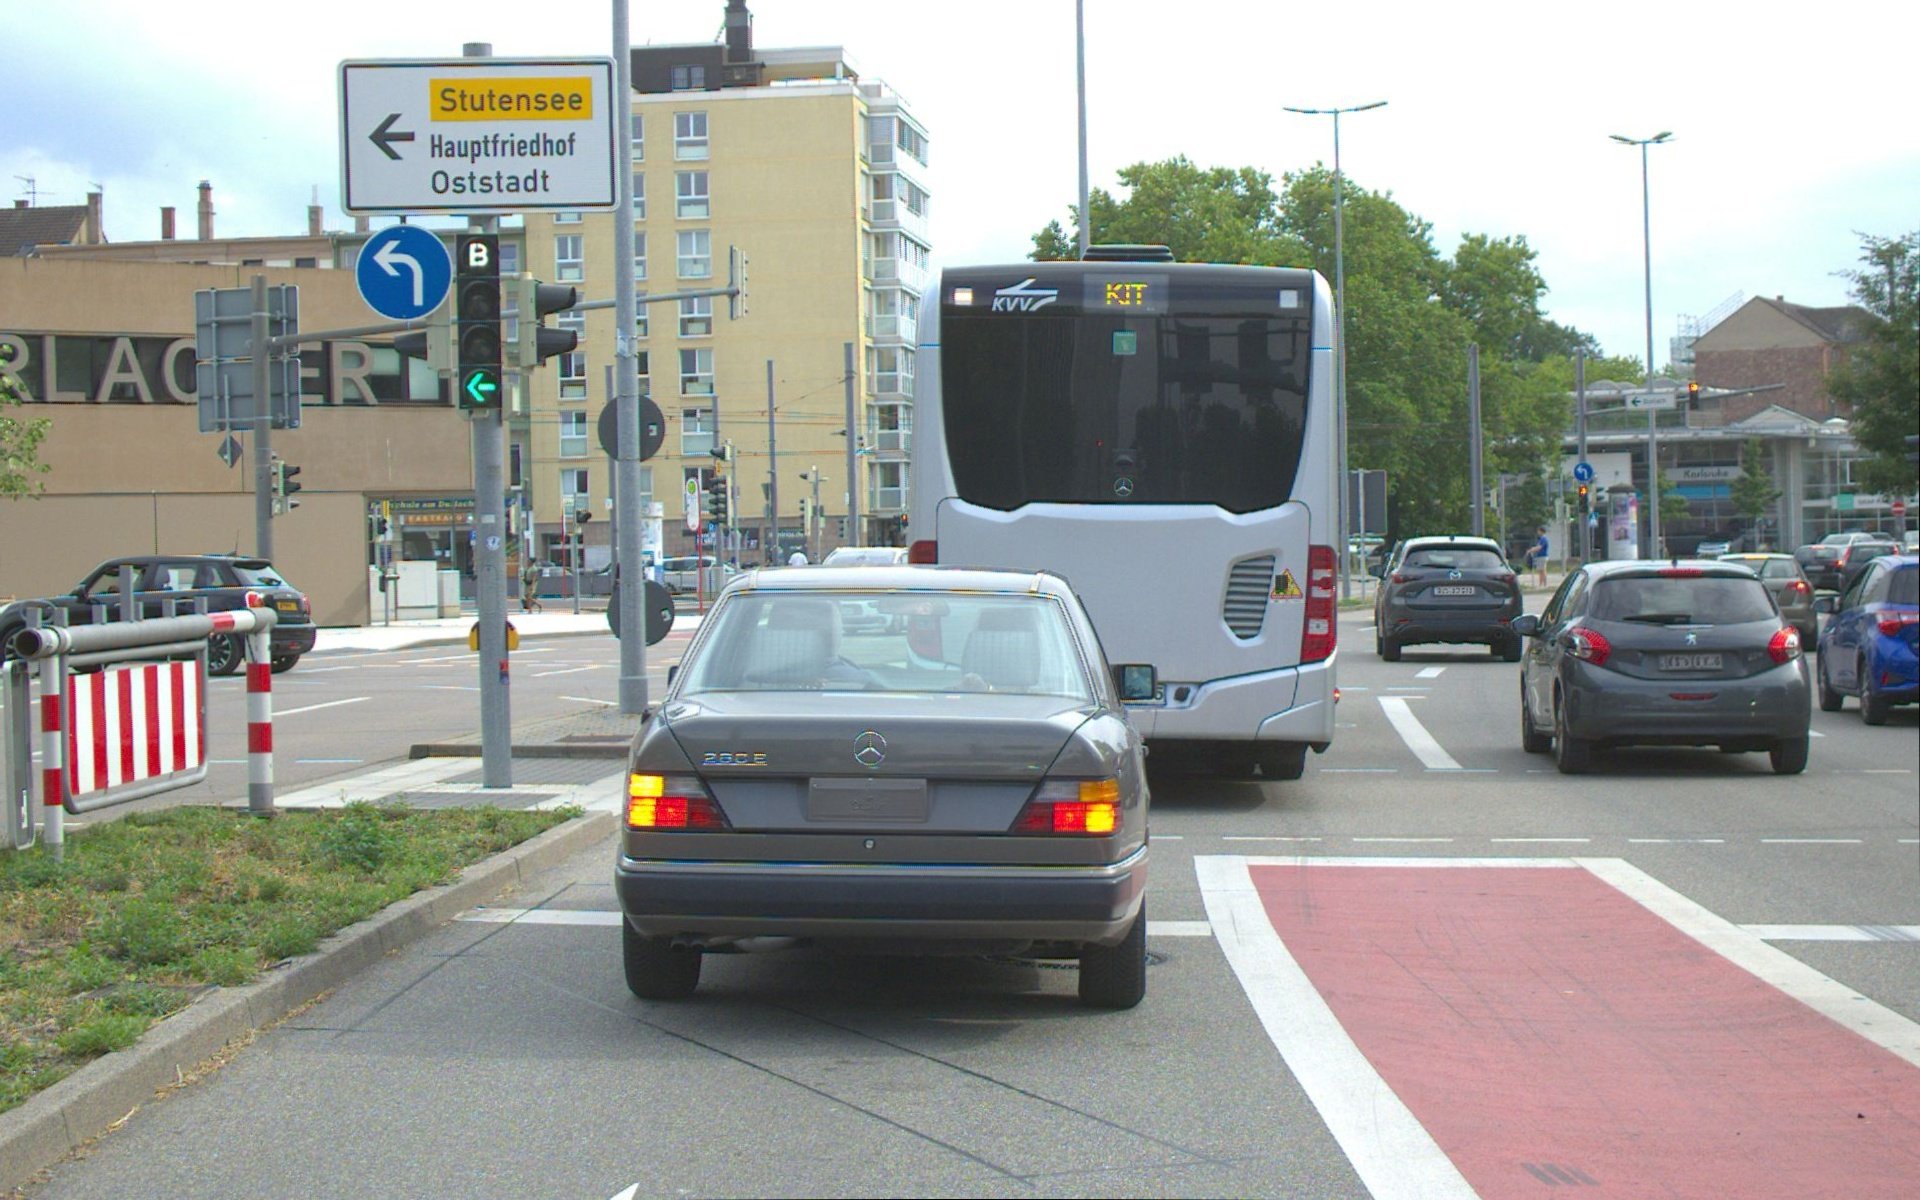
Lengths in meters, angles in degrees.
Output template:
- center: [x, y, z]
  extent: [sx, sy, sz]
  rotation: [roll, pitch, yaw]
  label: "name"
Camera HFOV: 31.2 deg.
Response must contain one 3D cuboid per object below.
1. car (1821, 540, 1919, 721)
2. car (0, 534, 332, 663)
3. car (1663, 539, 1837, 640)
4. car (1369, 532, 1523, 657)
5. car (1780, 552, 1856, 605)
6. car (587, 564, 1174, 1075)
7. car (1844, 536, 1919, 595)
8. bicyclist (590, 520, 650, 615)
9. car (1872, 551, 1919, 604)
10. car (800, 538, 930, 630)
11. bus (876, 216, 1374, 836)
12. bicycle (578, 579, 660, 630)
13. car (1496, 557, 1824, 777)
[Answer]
- center: [8.885, 0.254, 31.118]
  extent: [1.858, 1.527, 4.000]
  rotation: [1, 0, 11]
  label: "car"
- center: [-9.886, -0.037, 41.724]
  extent: [3.991, 1.481, 1.998]
  rotation: [1, 0, 22]
  label: "car"
- center: [11.756, -0.168, 50.985]
  extent: [2.134, 1.415, 3.697]
  rotation: [1, 0, 19]
  label: "car"
- center: [6.538, -0.087, 46.536]
  extent: [1.835, 1.609, 3.545]
  rotation: [1, 0, 5]
  label: "car"
- center: [23.896, -0.600, 95.683]
  extent: [1.712, 1.415, 3.996]
  rotation: [1, 0, 19]
  label: "car"
- center: [-0.280, 0.623, 12.257]
  extent: [1.695, 1.475, 4.416]
  rotation: [1, 0, -1]
  label: "car"
- center: [23.219, -0.859, 86.270]
  extent: [1.705, 1.415, 3.697]
  rotation: [1, 0, 19]
  label: "car"
- center: [-6.077, -0.583, 61.435]
  extent: [0.867, 1.663, 0.881]
  rotation: [1, 0, 8]
  label: "bicyclist"
- center: [25.749, -0.602, 93.193]
  extent: [1.705, 1.415, 3.697]
  rotation: [1, 0, 19]
  label: "car"
- center: [-1.759, -0.308, 64.895]
  extent: [1.994, 1.645, 4.289]
  rotation: [1, 0, 4]
  label: "car"
- center: [1.478, -0.499, 26.636]
  extent: [2.705, 3.426, 14.182]
  rotation: [-2, 1, 4]
  label: "bus"
- center: [-6.093, 0.067, 61.565]
  extent: [0.862, 0.873, 2.518]
  rotation: [1, 0, 8]
  label: "bicycle"
- center: [4.896, 0.422, 24.515]
  extent: [1.711, 1.415, 4.000]
  rotation: [1, 0, 3]
  label: "car"
